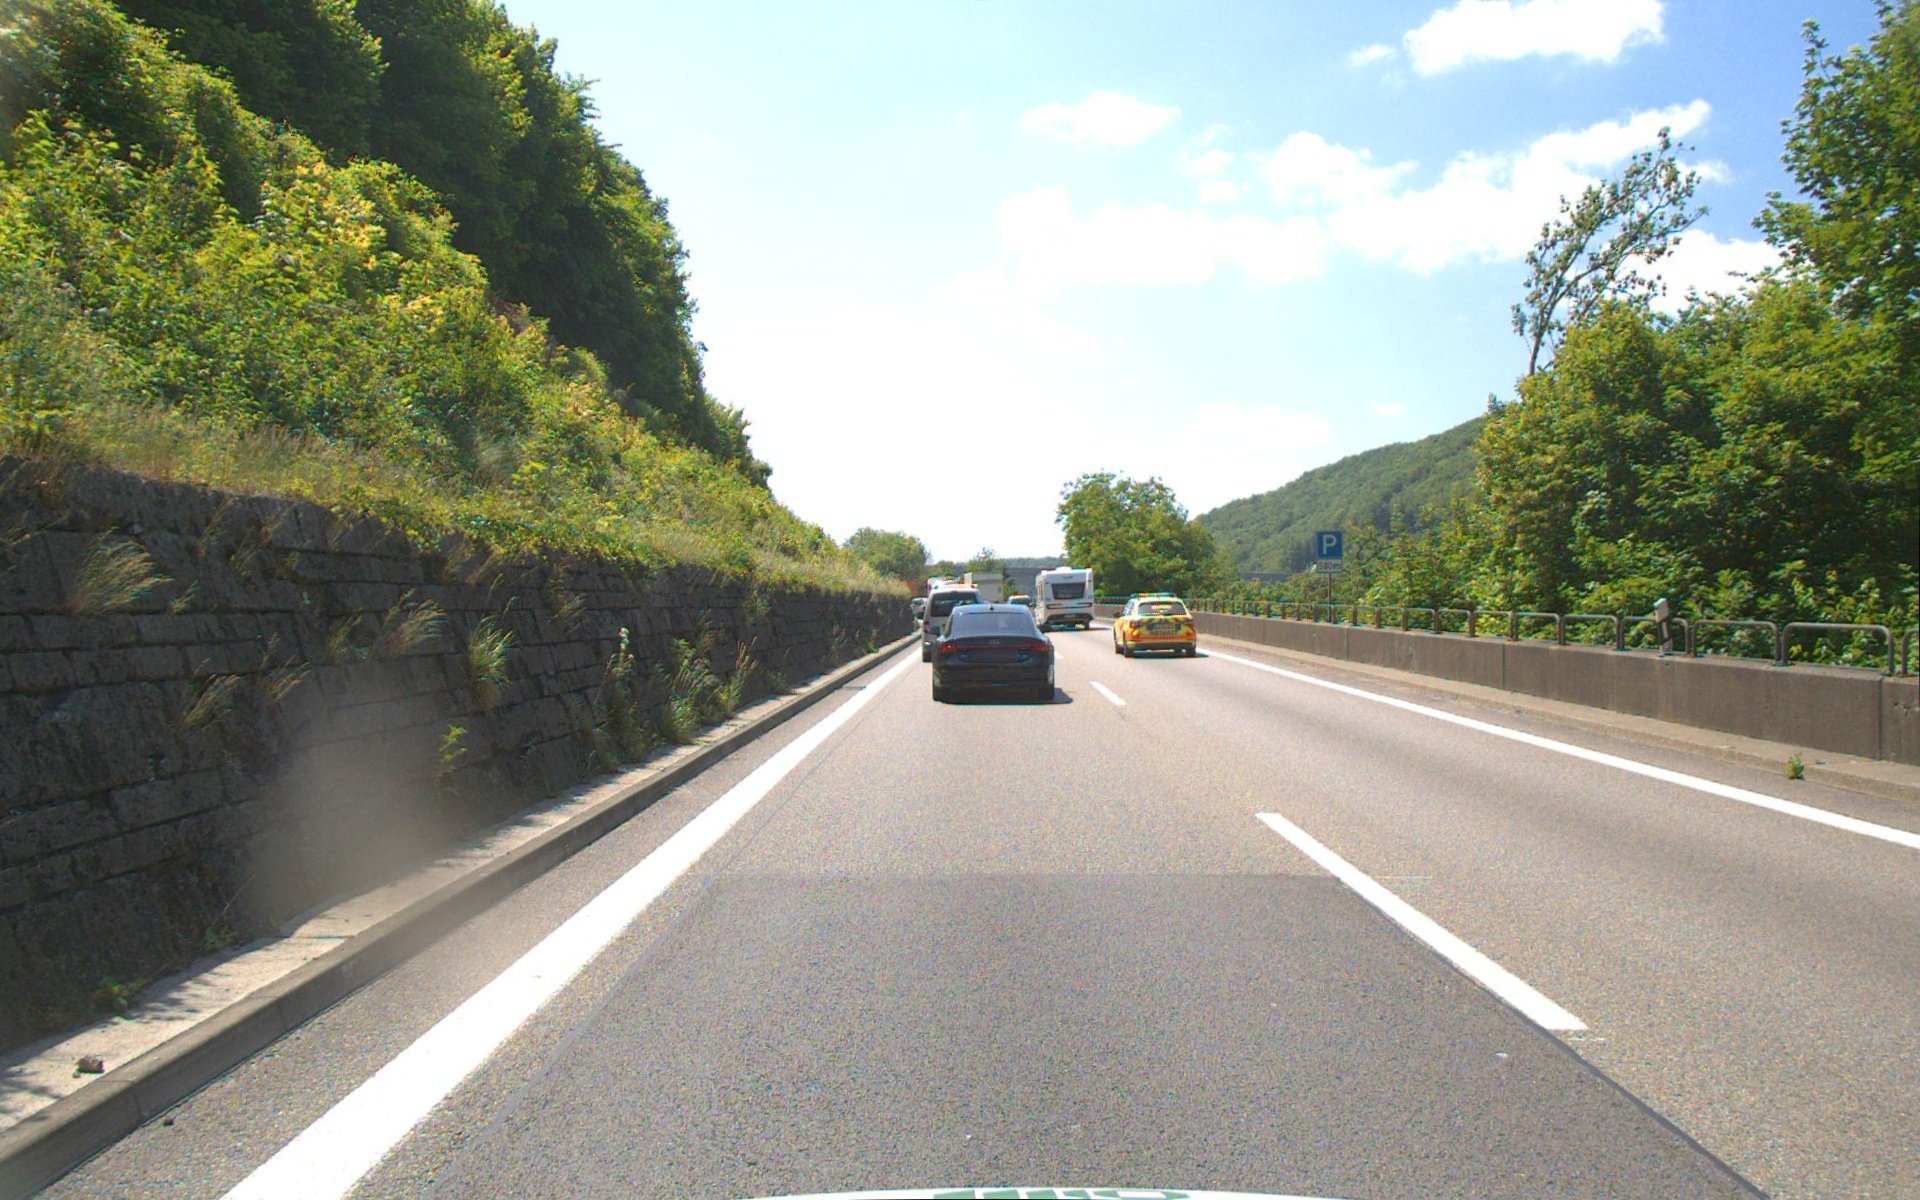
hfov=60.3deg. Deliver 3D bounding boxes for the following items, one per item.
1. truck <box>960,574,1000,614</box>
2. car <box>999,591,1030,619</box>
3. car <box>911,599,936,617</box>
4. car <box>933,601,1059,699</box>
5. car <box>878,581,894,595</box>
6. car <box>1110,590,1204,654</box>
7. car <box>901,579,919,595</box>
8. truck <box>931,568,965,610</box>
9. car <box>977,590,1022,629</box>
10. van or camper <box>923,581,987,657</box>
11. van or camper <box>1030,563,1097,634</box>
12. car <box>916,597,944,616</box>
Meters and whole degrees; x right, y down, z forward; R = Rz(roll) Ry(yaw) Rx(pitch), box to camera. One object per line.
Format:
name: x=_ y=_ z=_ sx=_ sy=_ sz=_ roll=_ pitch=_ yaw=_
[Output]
truck: x=1.610 y=-0.496 z=136.482 sx=2.784 sy=3.186 sz=7.475 roll=1 pitch=0 yaw=-3
car: x=3.498 y=0.324 z=106.287 sx=1.803 sy=1.747 sz=4.000 roll=1 pitch=0 yaw=0
car: x=-3.250 y=0.699 z=147.438 sx=1.954 sy=1.489 sz=3.996 roll=1 pitch=0 yaw=-4
car: x=0.495 y=0.753 z=25.911 sx=1.800 sy=1.373 sz=3.999 roll=1 pitch=-1 yaw=-1
car: x=-10.972 y=-1.727 z=246.387 sx=1.956 sy=2.049 sz=3.992 roll=1 pitch=0 yaw=-8
car: x=4.944 y=0.559 z=41.962 sx=1.825 sy=1.514 sz=3.999 roll=1 pitch=-1 yaw=-1
car: x=-6.641 y=-1.682 z=219.586 sx=1.956 sy=2.049 sz=3.993 roll=1 pitch=0 yaw=-8
truck: x=-1.278 y=-1.112 z=168.016 sx=2.680 sy=4.168 sz=7.470 roll=1 pitch=0 yaw=-6
car: x=1.732 y=0.413 z=74.492 sx=1.738 sy=1.665 sz=3.998 roll=1 pitch=0 yaw=-3
van or camper: x=-0.173 y=0.501 z=42.711 sx=1.364 sy=1.848 sz=3.996 roll=1 pitch=-1 yaw=-4
van or camper: x=4.592 y=-0.021 z=74.348 sx=2.406 sy=2.969 sz=6.123 roll=1 pitch=-1 yaw=-2
car: x=-2.417 y=0.507 z=131.720 sx=1.954 sy=1.489 sz=3.996 roll=1 pitch=0 yaw=-4
